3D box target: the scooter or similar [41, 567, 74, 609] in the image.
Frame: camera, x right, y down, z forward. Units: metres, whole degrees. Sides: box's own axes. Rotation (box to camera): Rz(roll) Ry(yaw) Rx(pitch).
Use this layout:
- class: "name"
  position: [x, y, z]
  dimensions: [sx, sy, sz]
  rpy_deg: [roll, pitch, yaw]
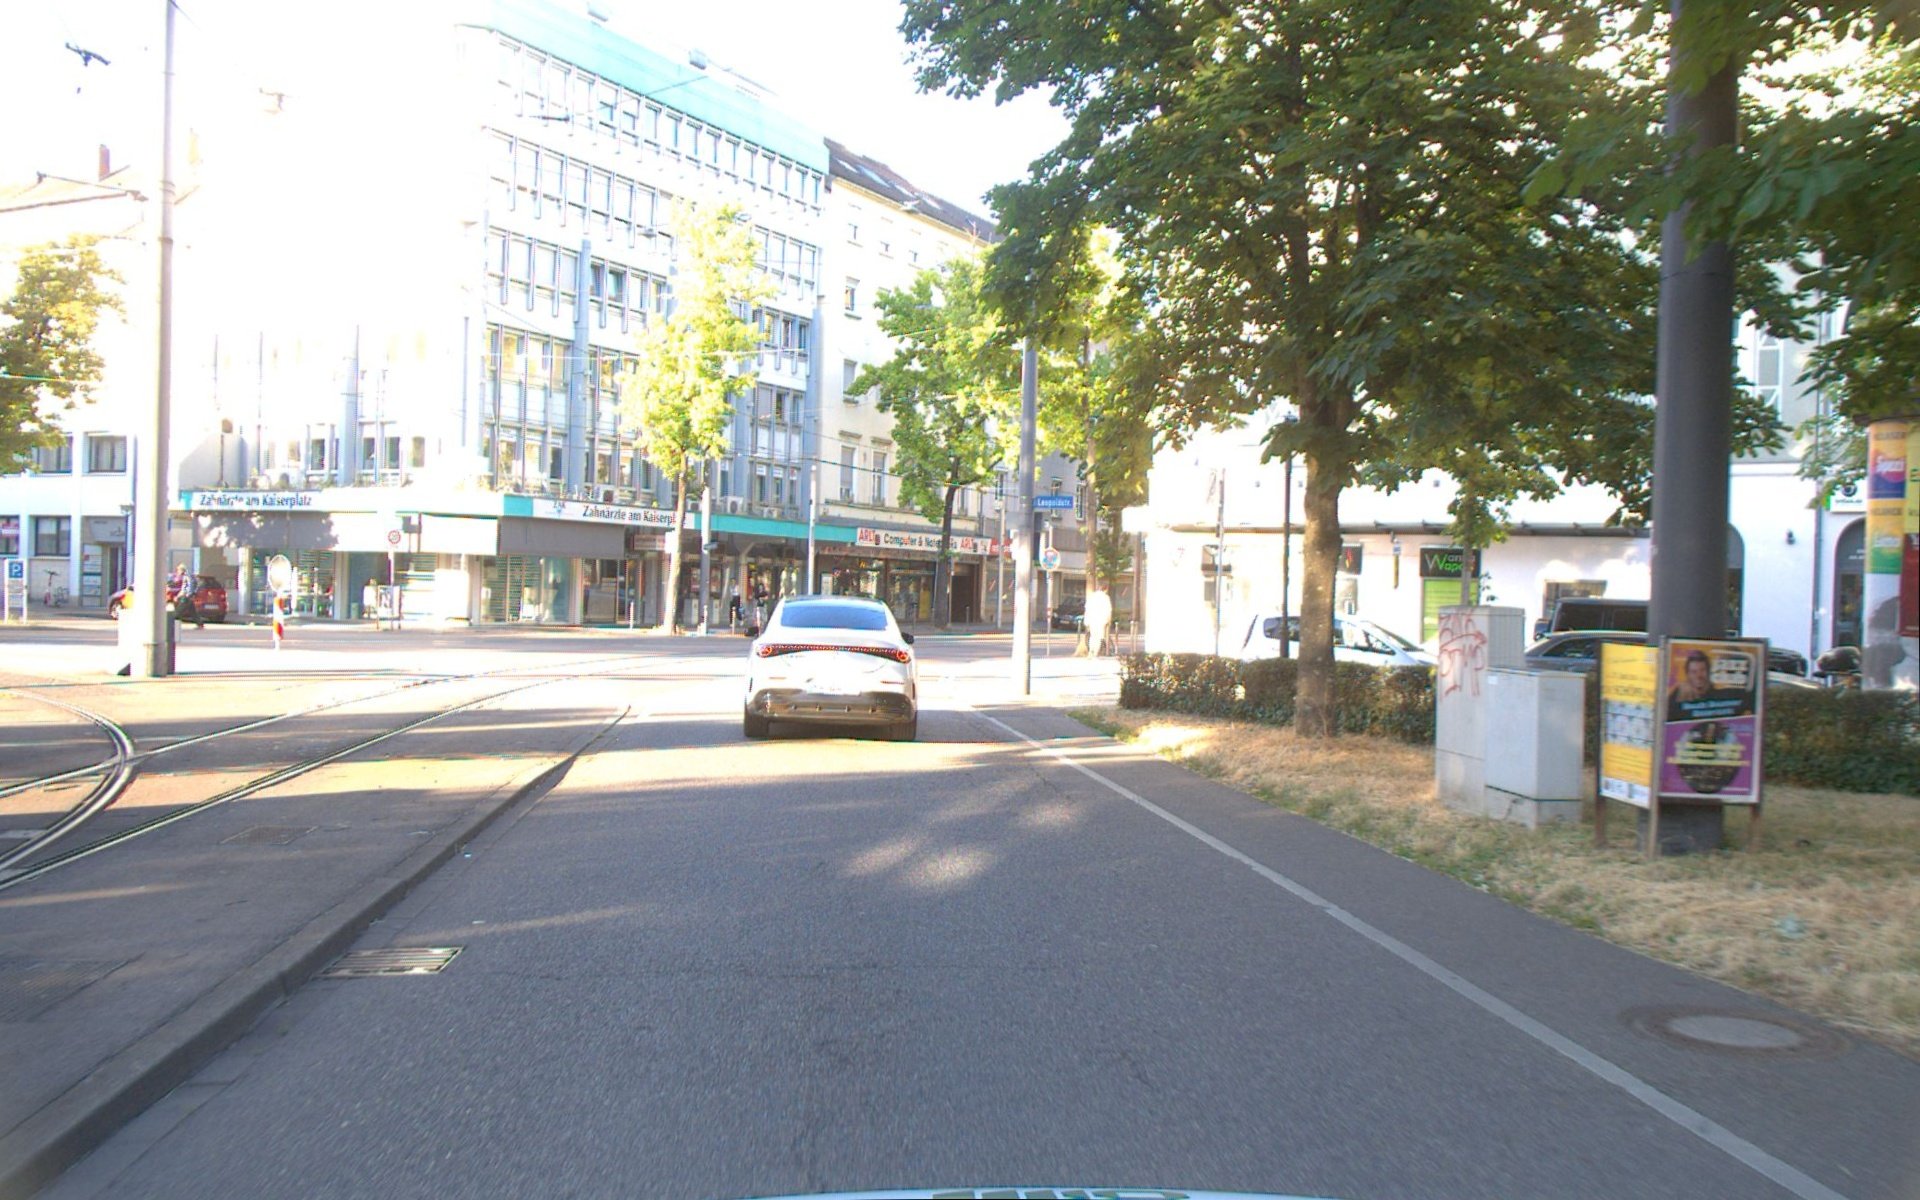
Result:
- class: "scooter or similar"
  position: [-32.845, -0.444, 60.187]
  dimensions: [0.747, 1.422, 1.903]
  rpy_deg: [3, 0, -36]

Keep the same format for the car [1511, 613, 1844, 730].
- class: "car"
  position: [11.069, 1.057, 25.628]
  dimensions: [4.569, 1.540, 1.736]
  rpy_deg: [2, 0, 28]

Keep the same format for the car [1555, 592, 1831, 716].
- class: "car"
  position: [13.331, 0.936, 30.124]
  dimensions: [4.411, 1.998, 2.020]
  rpy_deg: [2, 0, 28]

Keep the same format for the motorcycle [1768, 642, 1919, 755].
- class: "motorcycle"
  position: [12.144, 1.329, 22.326]
  dimensions: [2.204, 1.392, 0.946]
  rpy_deg: [4, -1, -21]

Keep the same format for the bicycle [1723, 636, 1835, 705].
- class: "bicycle"
  position: [16.159, 1.375, 32.649]
  dimensions: [1.944, 1.267, 0.686]
  rpy_deg: [2, 0, 29]

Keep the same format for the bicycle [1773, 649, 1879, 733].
- class: "bicycle"
  position: [10.332, 1.081, 19.715]
  dimensions: [1.514, 0.946, 0.548]
  rpy_deg: [3, -1, -39]

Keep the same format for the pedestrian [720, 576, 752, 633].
- class: "pedestrian"
  position: [-8.280, 0.157, 61.158]
  dimensions: [0.782, 2.049, 0.733]
  rpy_deg: [2, -1, 30]

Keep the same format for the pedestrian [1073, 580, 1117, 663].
- class: "pedestrian"
  position: [3.448, 0.549, 42.153]
  dimensions: [0.824, 2.049, 0.846]
  rpy_deg: [2, -1, 23]

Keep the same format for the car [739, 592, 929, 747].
- class: "car"
  position: [-1.347, 0.676, 18.215]
  dimensions: [1.831, 1.494, 4.040]
  rpy_deg: [1, 0, -3]

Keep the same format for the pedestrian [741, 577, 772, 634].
- class: "pedestrian"
  position: [-7.484, 0.212, 60.747]
  dimensions: [0.782, 2.049, 0.733]
  rpy_deg: [2, -1, 30]

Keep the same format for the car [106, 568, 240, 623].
- class: "car"
  position: [-24.201, -0.158, 50.855]
  dimensions: [3.919, 1.511, 2.020]
  rpy_deg: [2, 0, 35]

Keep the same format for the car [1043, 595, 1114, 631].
- class: "car"
  position: [5.854, 0.661, 81.515]
  dimensions: [1.925, 1.668, 3.992]
  rpy_deg: [2, 0, 29]

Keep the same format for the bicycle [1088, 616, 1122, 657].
- class: "bicycle"
  position: [4.042, 1.010, 45.952]
  dimensions: [0.347, 1.095, 1.697]
  rpy_deg: [2, -1, 25]

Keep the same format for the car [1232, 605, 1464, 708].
- class: "car"
  position: [6.584, 0.925, 28.103]
  dimensions: [3.498, 1.540, 1.736]
  rpy_deg: [2, 0, 28]

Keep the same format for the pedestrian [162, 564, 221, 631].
- class: "pedestrian"
  position: [-20.299, -0.056, 43.695]
  dimensions: [1.154, 1.732, 0.893]
  rpy_deg: [2, -1, -44]
